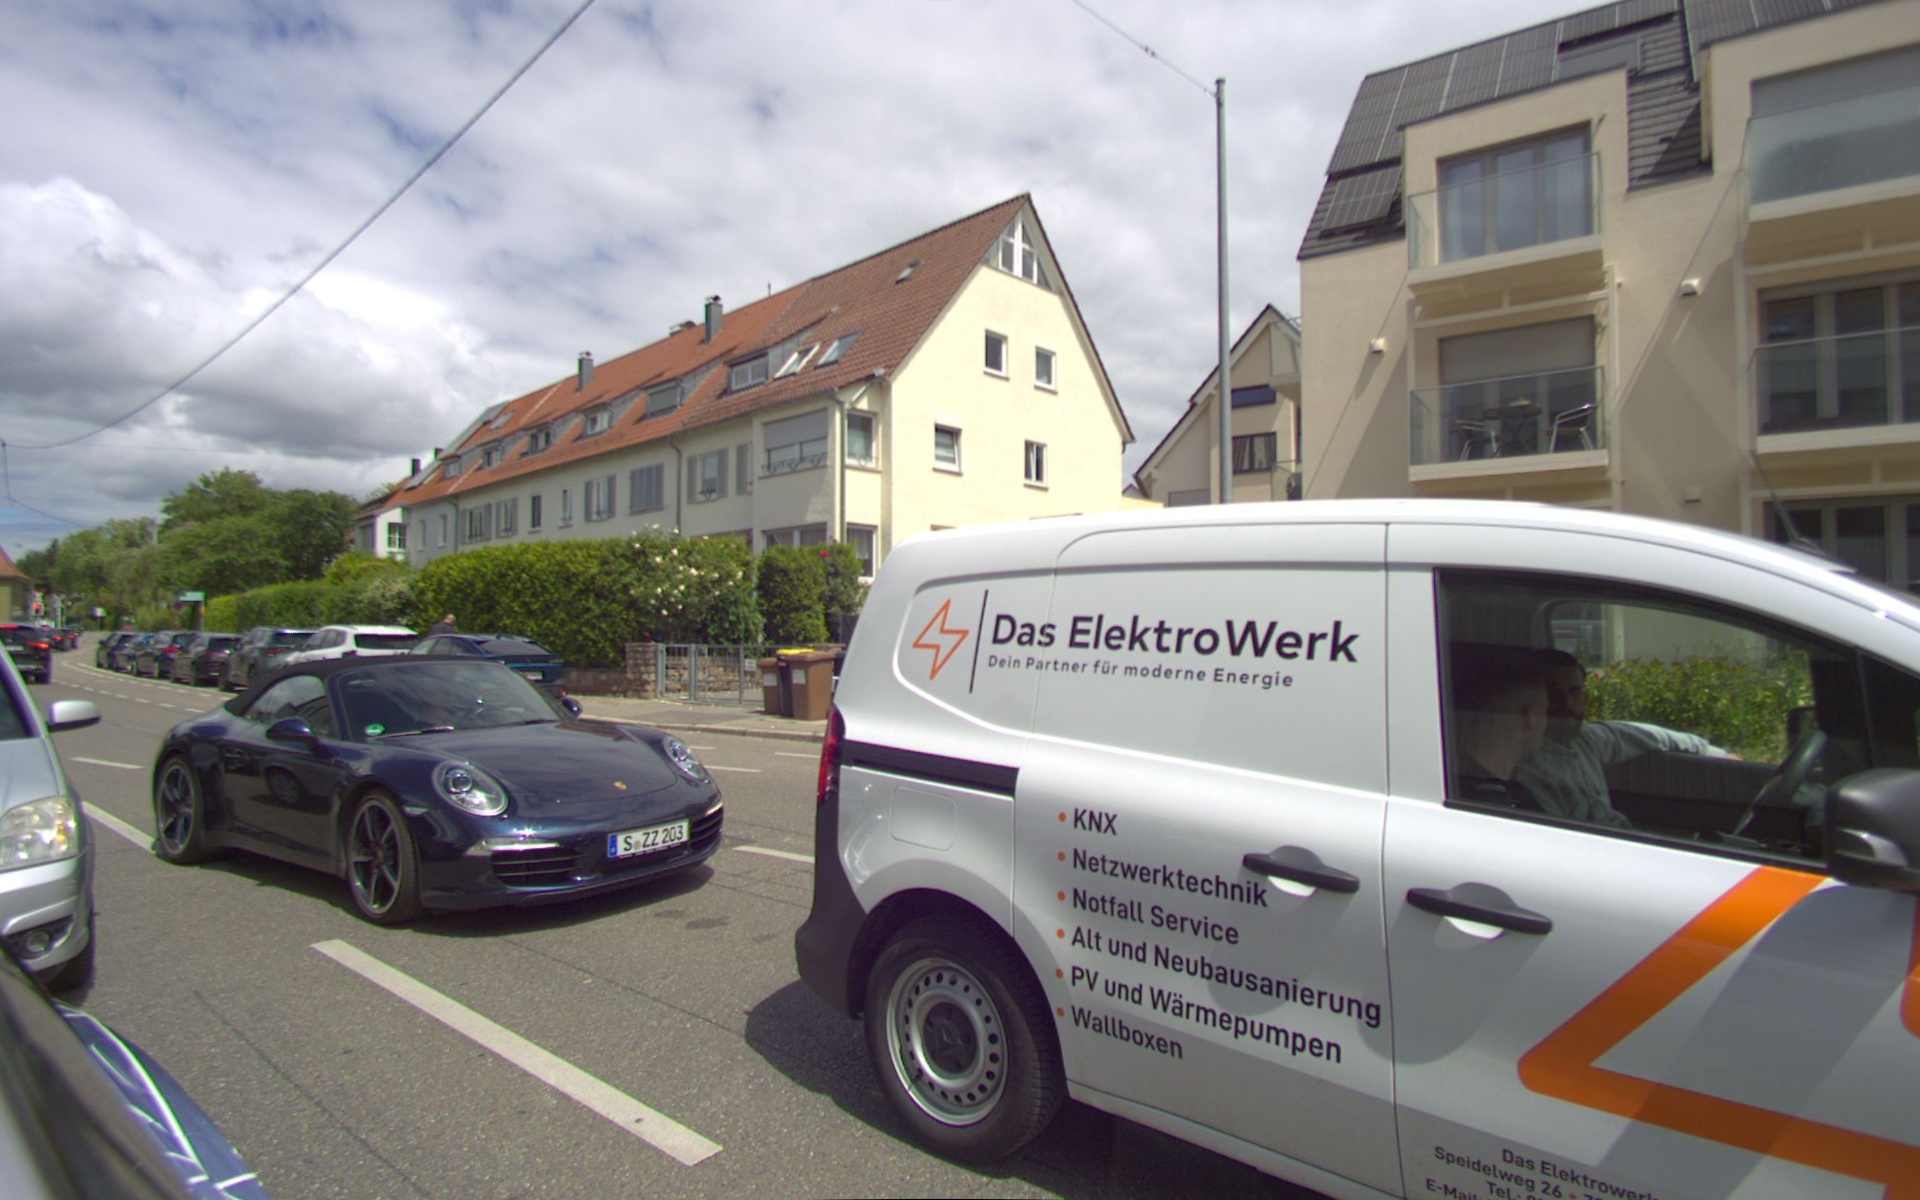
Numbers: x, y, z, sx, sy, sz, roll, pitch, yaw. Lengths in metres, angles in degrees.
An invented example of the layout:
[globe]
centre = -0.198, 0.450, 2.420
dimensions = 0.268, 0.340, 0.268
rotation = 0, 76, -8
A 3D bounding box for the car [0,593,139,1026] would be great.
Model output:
[car]
centre = -5.346, 0.804, 4.665
dimensions = 3.999, 1.587, 1.751
rotation = -2, -2, 41
